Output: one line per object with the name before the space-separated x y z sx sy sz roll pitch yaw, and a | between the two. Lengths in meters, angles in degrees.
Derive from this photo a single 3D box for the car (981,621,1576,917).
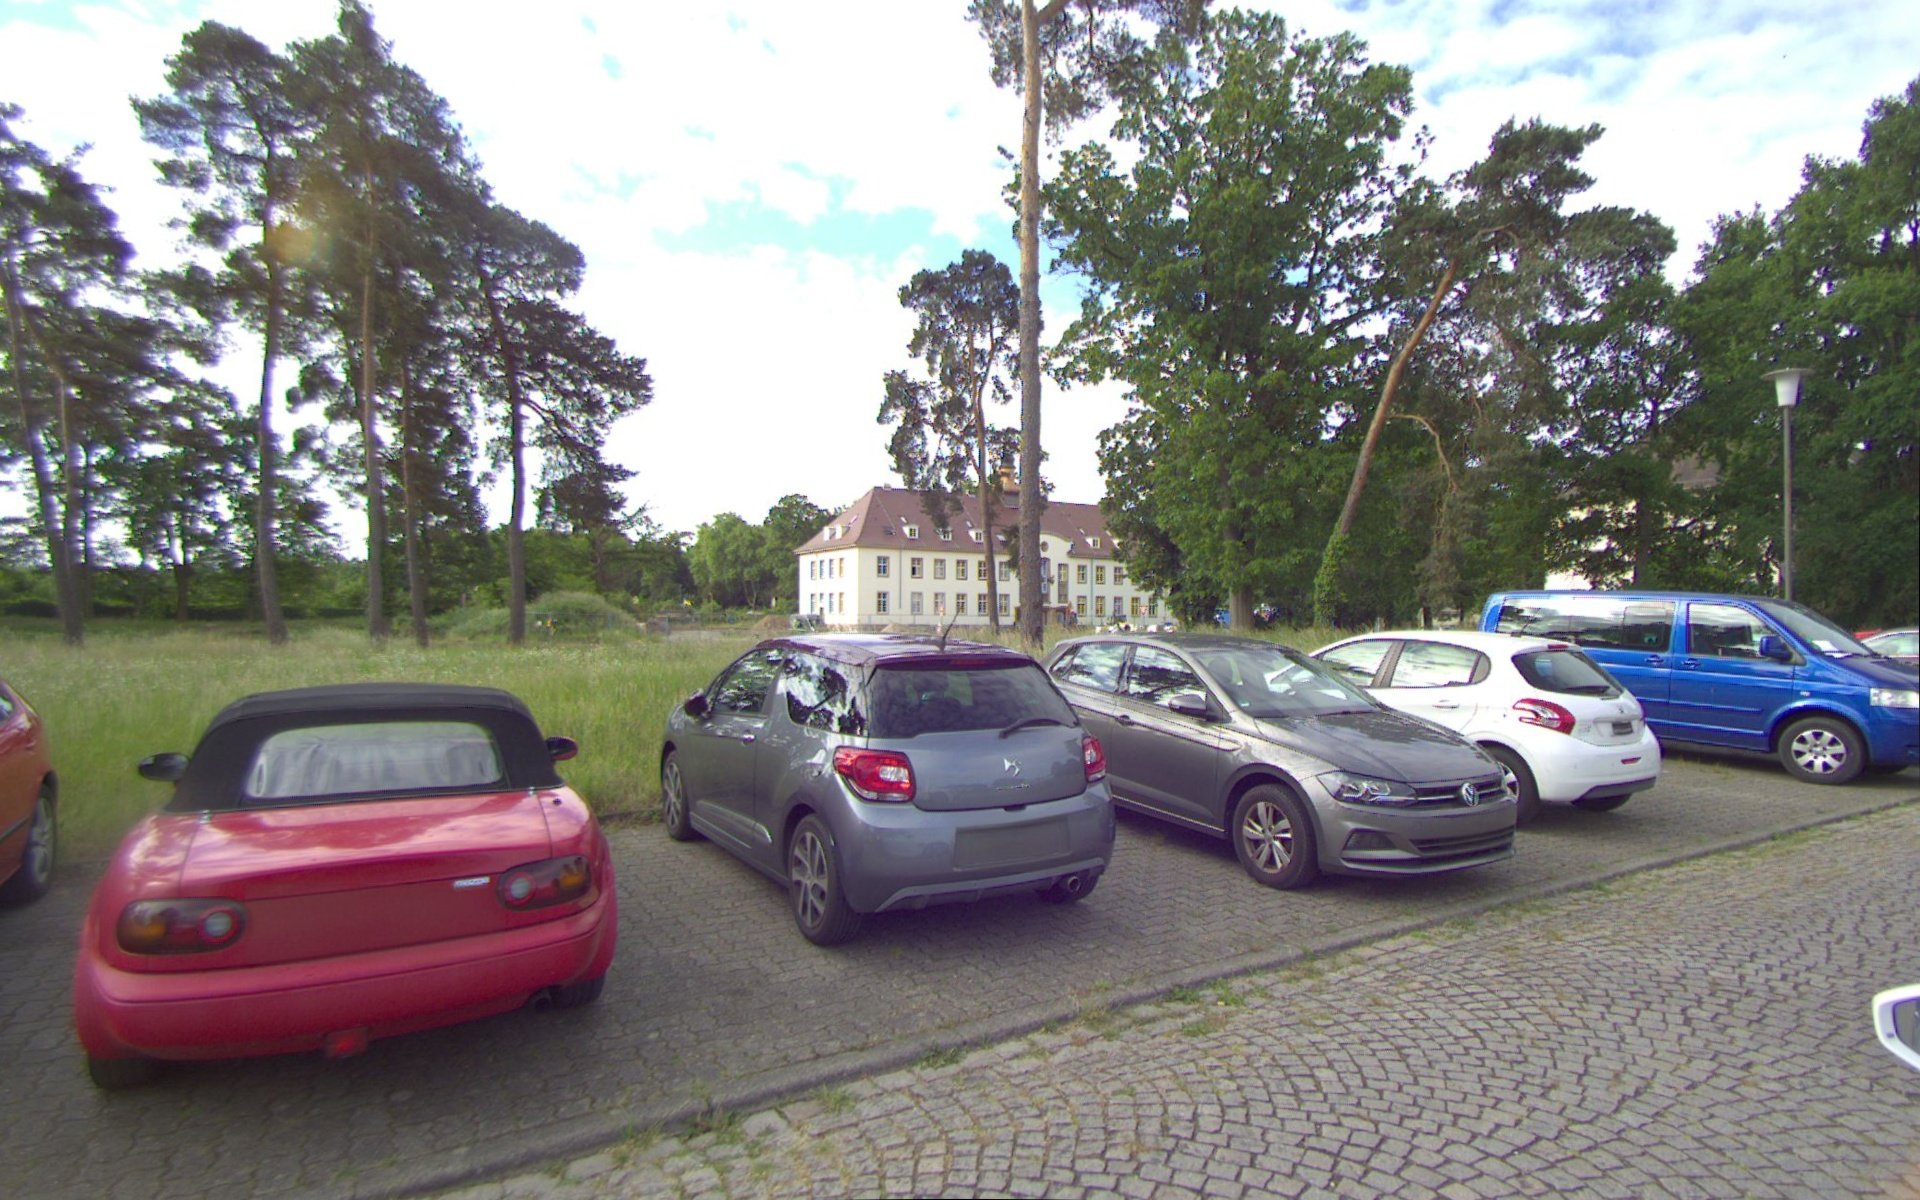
car | 1.980 0.936 7.581 1.710 1.500 4.284 1 -1 -30

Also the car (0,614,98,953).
car | -4.864 0.800 3.719 1.834 1.474 4.232 1 -1 -31

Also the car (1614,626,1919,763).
car | 11.021 1.134 13.156 1.708 1.513 3.771 1 -1 -34

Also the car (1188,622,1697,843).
car | 4.195 0.997 9.395 1.821 1.522 3.986 1 -1 -30

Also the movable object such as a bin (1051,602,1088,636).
movable object such as a bin | 12.402 2.215 114.181 2.105 3.689 6.119 2 -2 -14

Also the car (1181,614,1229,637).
car | 23.398 2.451 96.039 4.298 2.122 2.051 3 -3 -32

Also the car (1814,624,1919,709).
car | 18.343 1.234 18.397 1.741 1.506 3.796 1 -1 -31

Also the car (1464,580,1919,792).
car | 8.788 0.833 11.926 2.015 2.007 4.684 1 -1 -32

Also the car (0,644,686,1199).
car | -2.746 0.936 4.765 1.744 1.300 4.110 1 -1 -31

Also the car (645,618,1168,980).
car | -0.687 0.886 6.486 1.734 1.500 4.068 1 -1 -30

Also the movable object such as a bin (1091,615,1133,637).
movable object such as a bin | 16.626 2.882 109.960 2.349 2.283 4.492 2 -2 -26

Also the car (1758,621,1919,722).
car | 16.124 1.167 16.740 1.933 1.596 4.045 1 -1 -32
